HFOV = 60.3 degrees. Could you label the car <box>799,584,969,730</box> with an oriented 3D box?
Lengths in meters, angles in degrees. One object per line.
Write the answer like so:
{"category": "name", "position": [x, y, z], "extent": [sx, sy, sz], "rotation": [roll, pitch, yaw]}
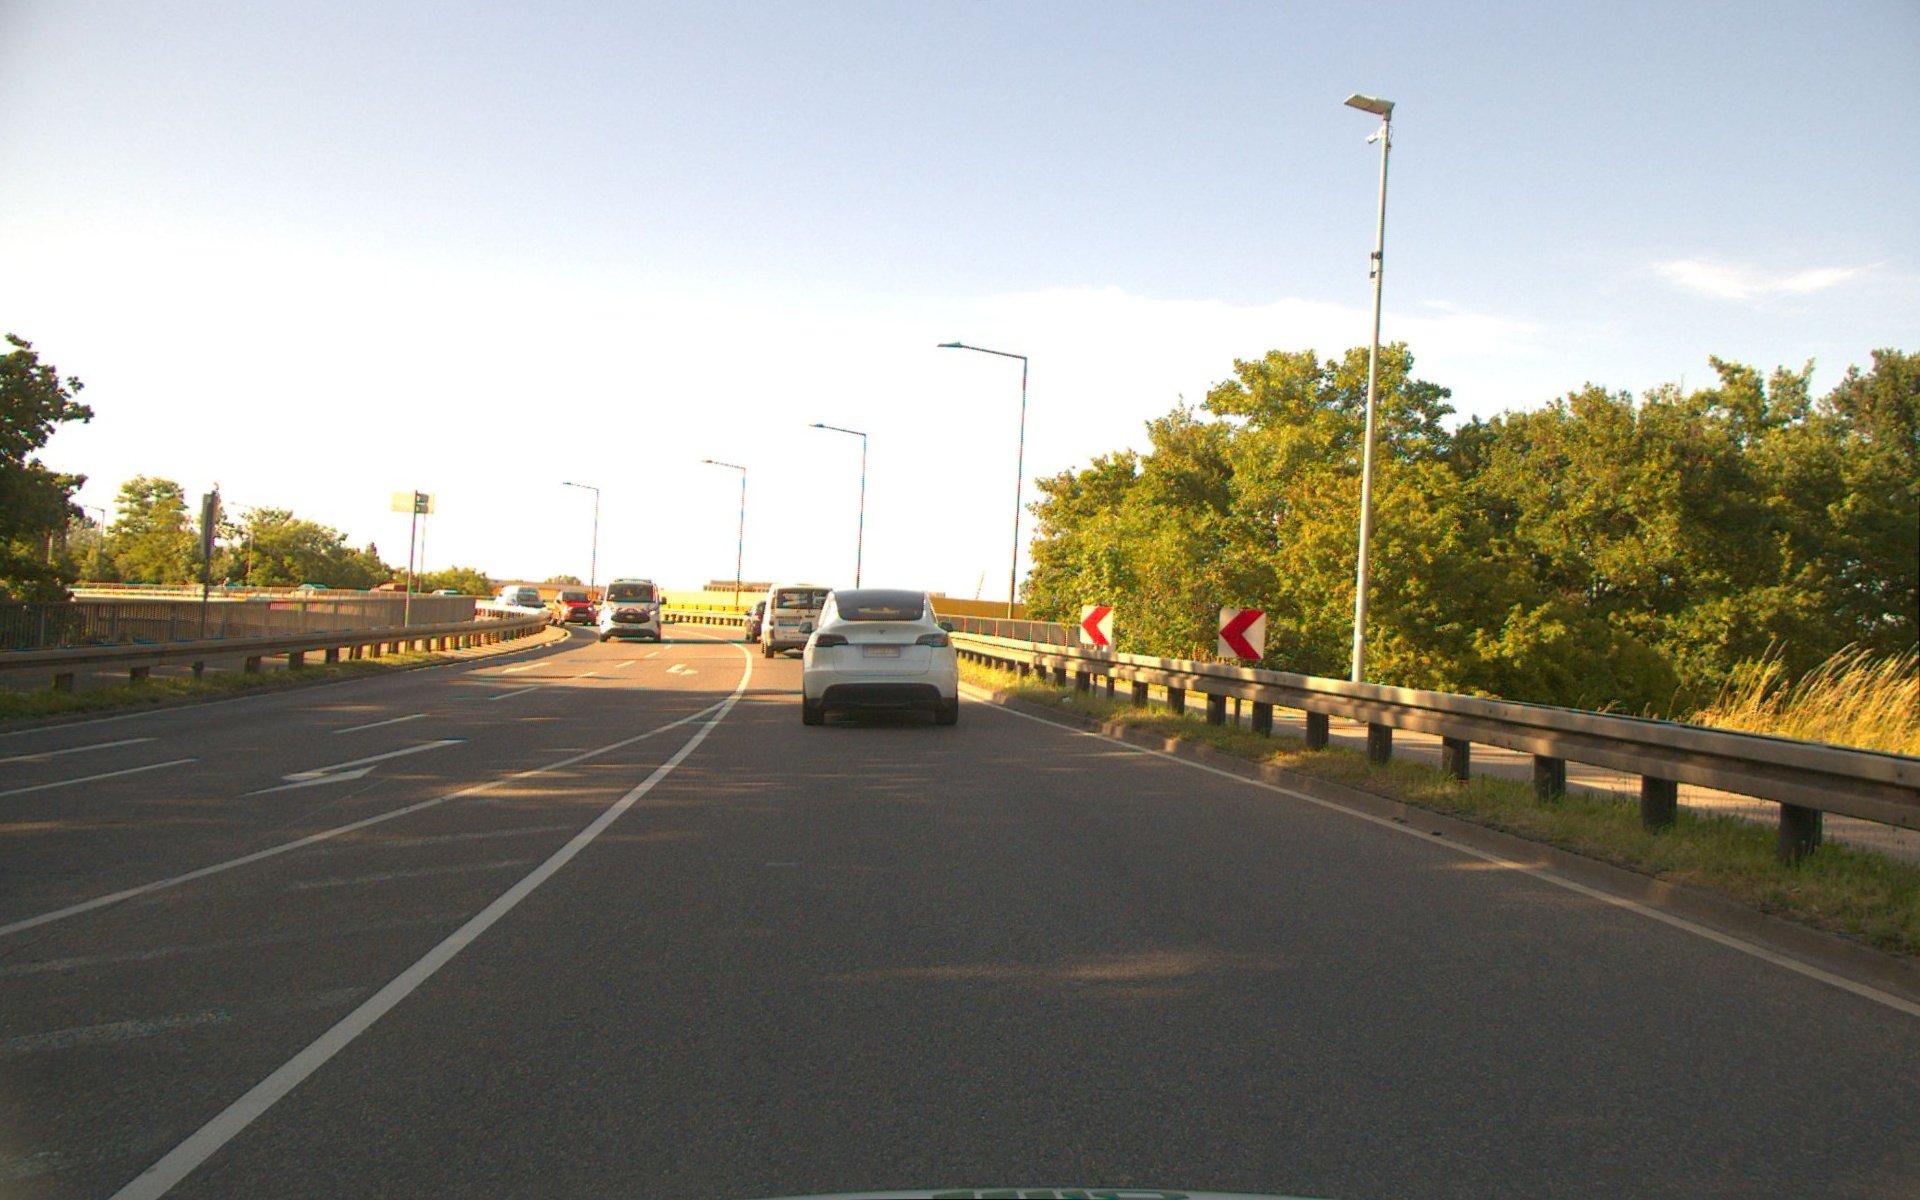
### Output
{"category": "car", "position": [-1.039, 0.655, 21.037], "extent": [1.946, 1.666, 4.058], "rotation": [0, 0, -5]}

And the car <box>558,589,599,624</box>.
{"category": "car", "position": [-18.875, 0.313, 81.703], "extent": [1.775, 1.666, 3.982], "rotation": [1, 0, -16]}

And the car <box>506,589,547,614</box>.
{"category": "car", "position": [-28.339, 0.095, 108.014], "extent": [1.814, 1.583, 3.859], "rotation": [1, 0, -27]}

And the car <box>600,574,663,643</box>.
{"category": "car", "position": [-10.842, 0.261, 54.928], "extent": [1.913, 2.149, 5.258], "rotation": [1, 0, -10]}

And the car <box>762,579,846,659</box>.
{"category": "car", "position": [-4.156, 0.475, 43.469], "extent": [1.968, 1.974, 4.458], "rotation": [0, 0, -9]}

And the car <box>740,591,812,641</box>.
{"category": "car", "position": [-6.459, 0.529, 57.721], "extent": [1.936, 1.666, 3.984], "rotation": [0, 0, -15]}

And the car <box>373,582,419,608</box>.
{"category": "car", "position": [-43.606, -0.399, 127.851], "extent": [1.947, 1.984, 3.936], "rotation": [1, 0, -44]}
